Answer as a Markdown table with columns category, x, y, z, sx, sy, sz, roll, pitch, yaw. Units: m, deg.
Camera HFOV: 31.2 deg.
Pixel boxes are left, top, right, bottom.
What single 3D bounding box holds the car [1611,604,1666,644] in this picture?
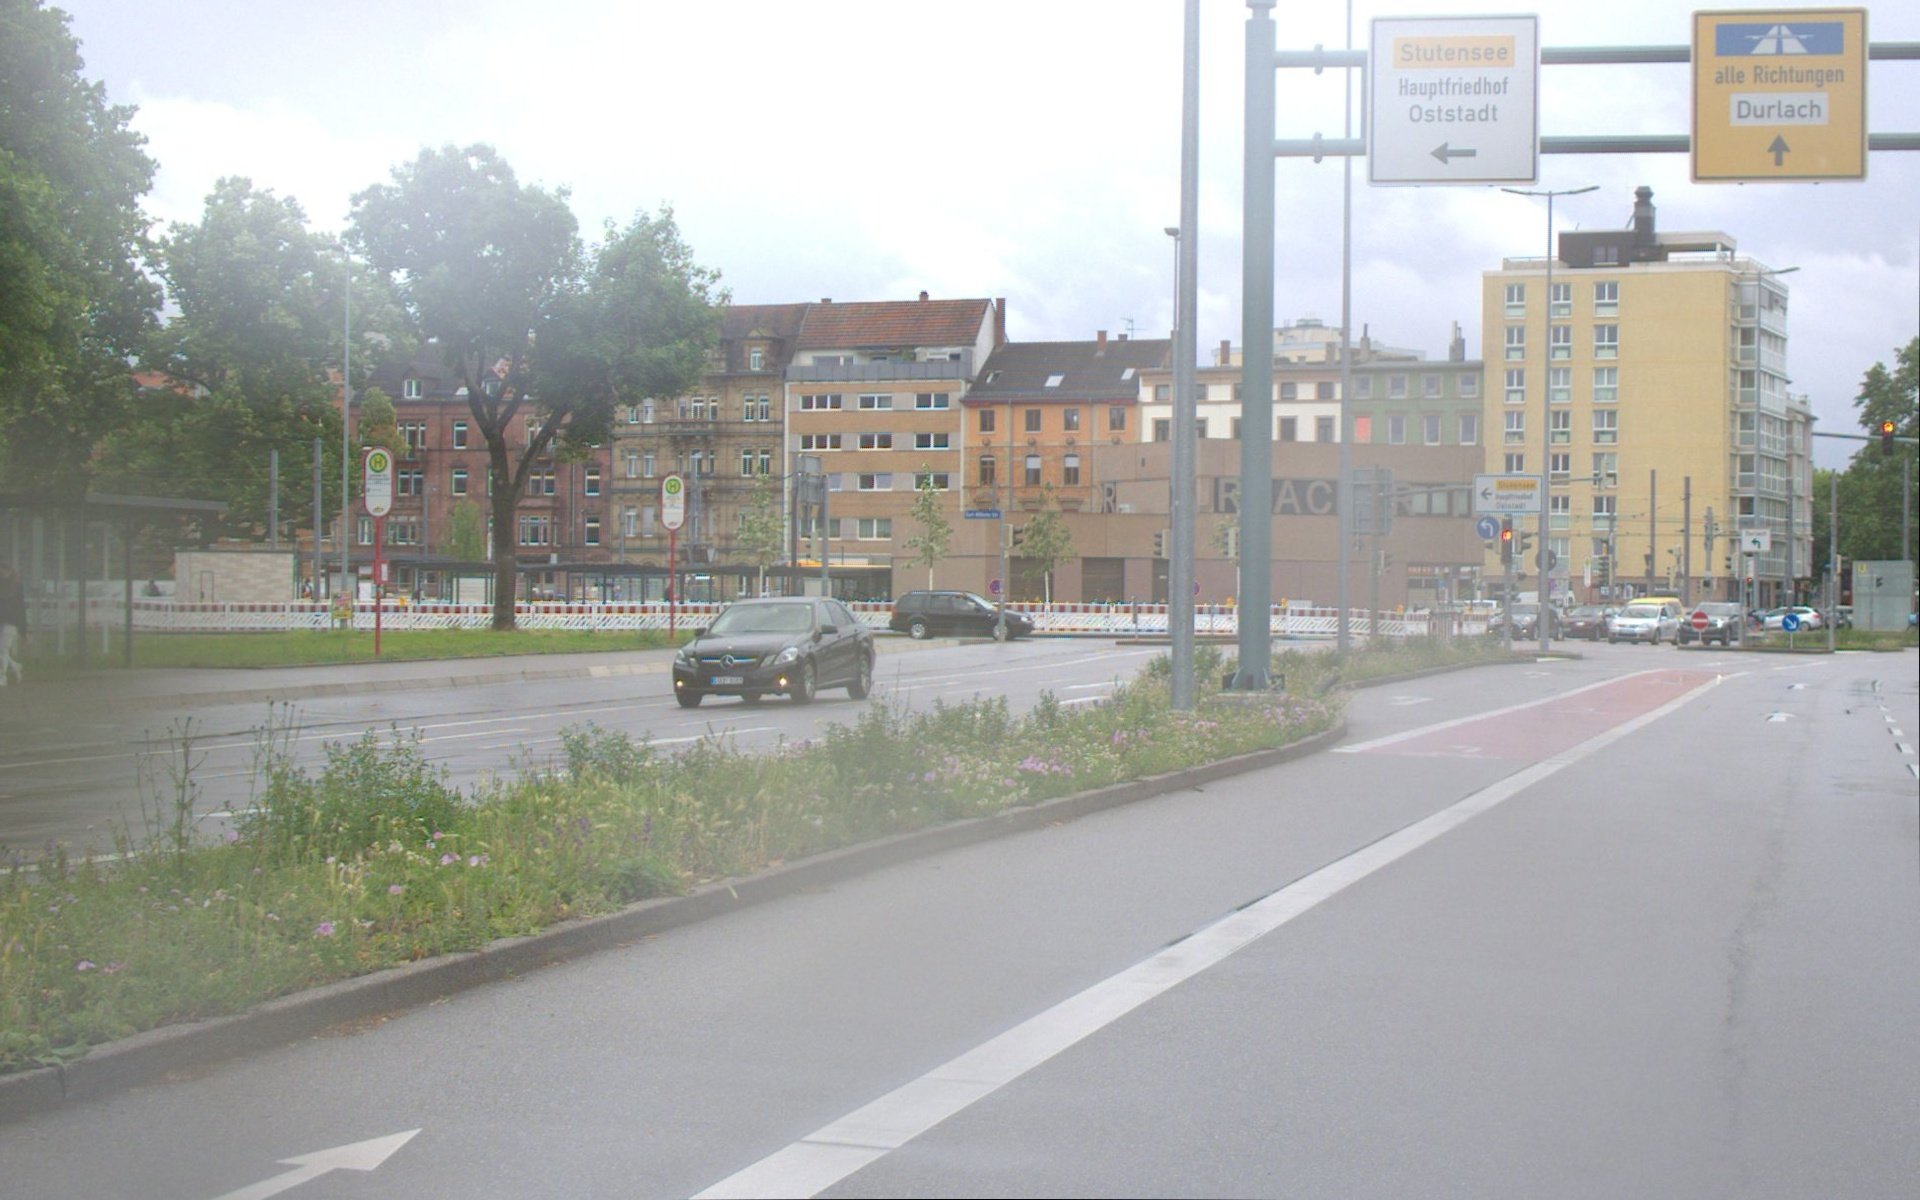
| category | x | y | z | sx | sy | sz | roll | pitch | yaw |
| --- | --- | --- | --- | --- | --- | --- | --- | --- | --- |
| car | 24.436 | 0.841 | 123.762 | 1.680 | 1.399 | 4.155 | 0 | 0 | 15 |

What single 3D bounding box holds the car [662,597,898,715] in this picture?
| category | x | y | z | sx | sy | sz | roll | pitch | yaw |
| --- | --- | --- | --- | --- | --- | --- | --- | --- | --- |
| car | -2.431 | 0.743 | 47.709 | 1.810 | 1.535 | 4.699 | -1 | 0 | 16 |

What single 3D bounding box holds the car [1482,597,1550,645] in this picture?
| category | x | y | z | sx | sy | sz | roll | pitch | yaw |
| --- | --- | --- | --- | --- | --- | --- | --- | --- | --- |
| car | 20.300 | 0.751 | 125.409 | 1.707 | 1.700 | 3.816 | 1 | 0 | 21 |

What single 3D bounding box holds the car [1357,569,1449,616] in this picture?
| category | x | y | z | sx | sy | sz | roll | pitch | yaw |
| --- | --- | --- | --- | --- | --- | --- | --- | --- | --- |
| car | 27.788 | -0.507 | 215.645 | 5.356 | 2.877 | 2.337 | 1 | 0 | 19 |

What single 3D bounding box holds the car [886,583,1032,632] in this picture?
| category | x | y | z | sx | sy | sz | roll | pitch | yaw |
| --- | --- | --- | --- | --- | --- | --- | --- | --- | --- |
| car | -0.022 | 0.227 | 103.682 | 4.193 | 1.397 | 1.617 | 1 | 0 | 10 |

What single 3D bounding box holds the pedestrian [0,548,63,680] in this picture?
| category | x | y | z | sx | sy | sz | roll | pitch | yaw |
| --- | --- | --- | --- | --- | --- | --- | --- | --- | --- |
| pedestrian | -12.352 | 0.172 | 44.689 | 0.868 | 1.690 | 1.399 | 1 | 0 | 7 |
